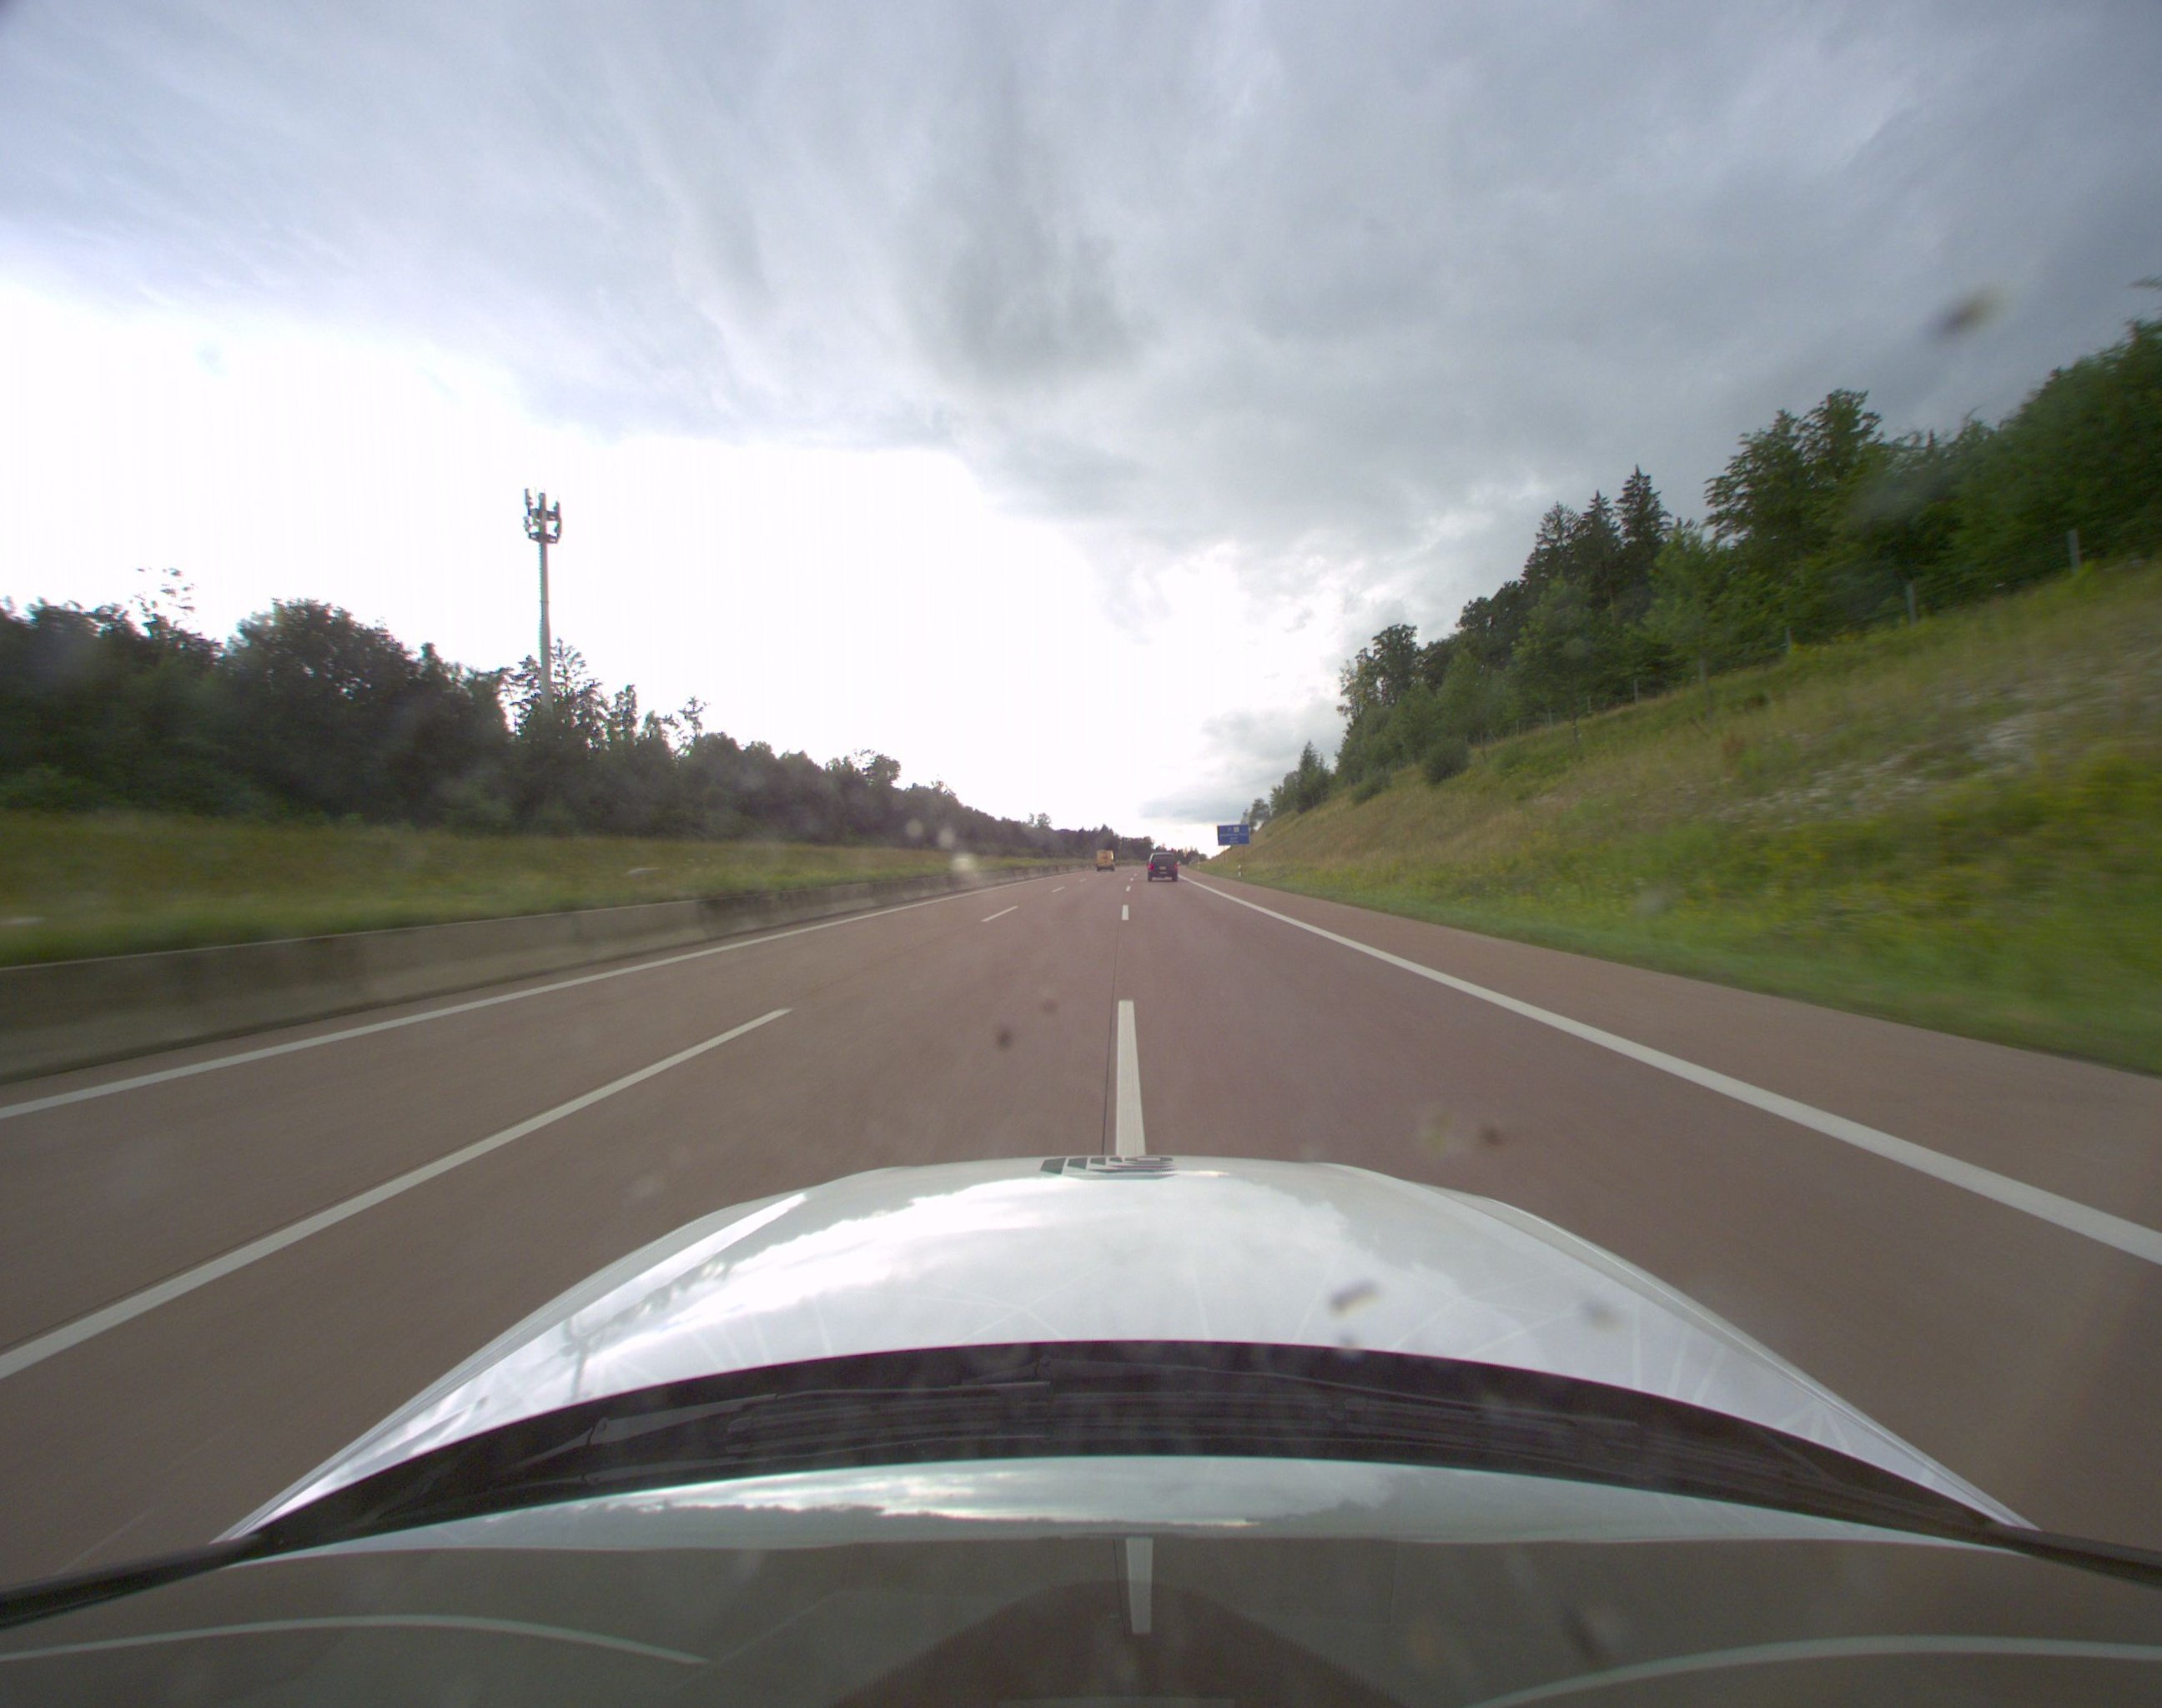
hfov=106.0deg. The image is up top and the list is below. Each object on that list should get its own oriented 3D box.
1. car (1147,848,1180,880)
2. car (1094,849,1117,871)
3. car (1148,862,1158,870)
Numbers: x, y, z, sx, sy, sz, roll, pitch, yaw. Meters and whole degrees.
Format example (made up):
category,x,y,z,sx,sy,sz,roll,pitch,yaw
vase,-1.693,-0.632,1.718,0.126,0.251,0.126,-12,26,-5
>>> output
category,x,y,z,sx,sy,sz,roll,pitch,yaw
car,5.421,0.701,53.513,2.034,1.897,5.585,-2,-2,6
car,3.246,0.797,106.045,2.446,2.706,5.621,-2,-2,6
car,16.980,2.885,192.406,1.876,1.764,5.010,-2,-2,10
